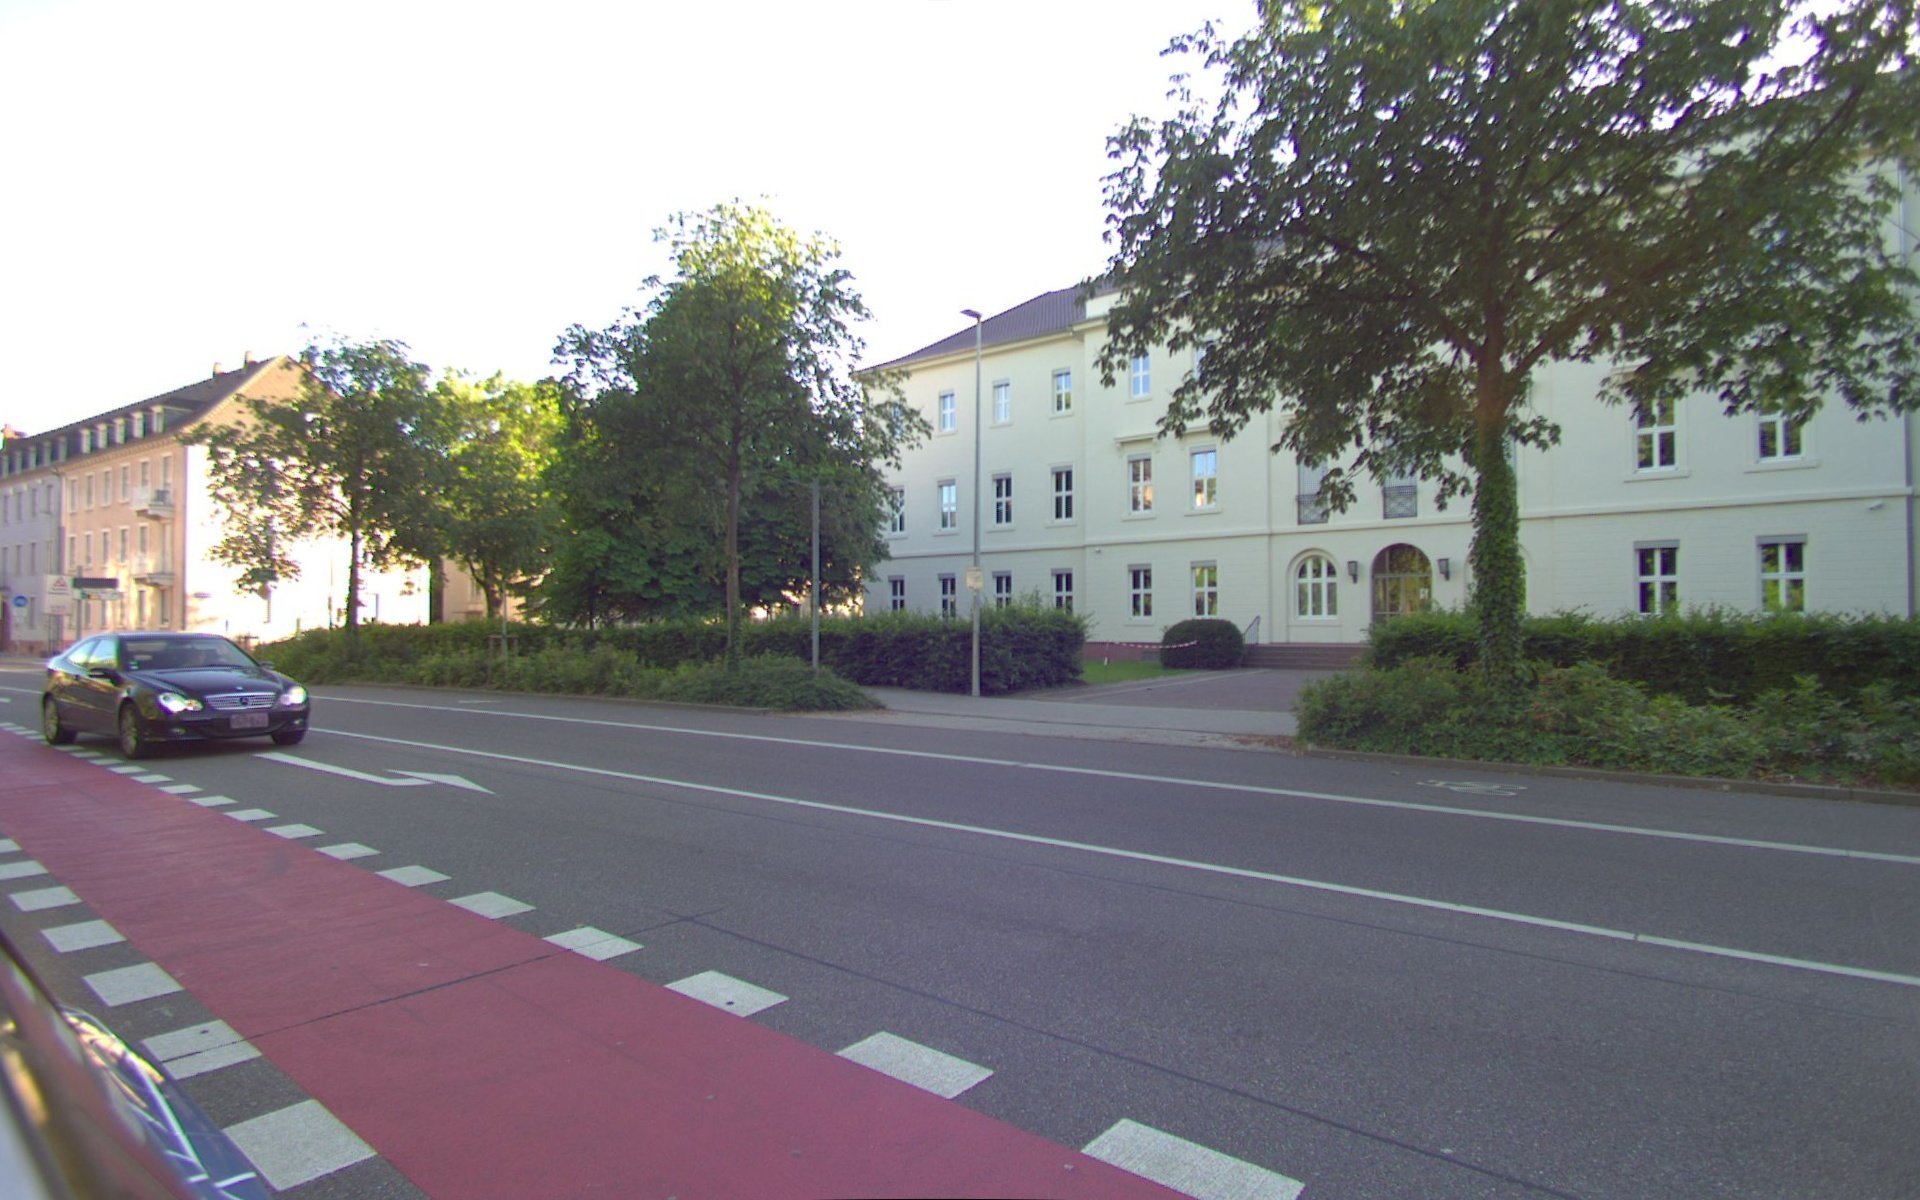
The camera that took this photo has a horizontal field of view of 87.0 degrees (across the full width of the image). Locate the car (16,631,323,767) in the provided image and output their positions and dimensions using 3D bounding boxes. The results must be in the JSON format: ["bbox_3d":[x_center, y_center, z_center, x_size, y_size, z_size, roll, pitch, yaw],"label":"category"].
[{"bbox_3d":[-9.831,1.104,12.501,4.252,1.416,1.691,-1,-3,33],"label":"car"}]

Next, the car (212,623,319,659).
[{"bbox_3d":[-34.688,2.002,50.620,1.993,1.674,3.958,-1,-1,31],"label":"car"}]
